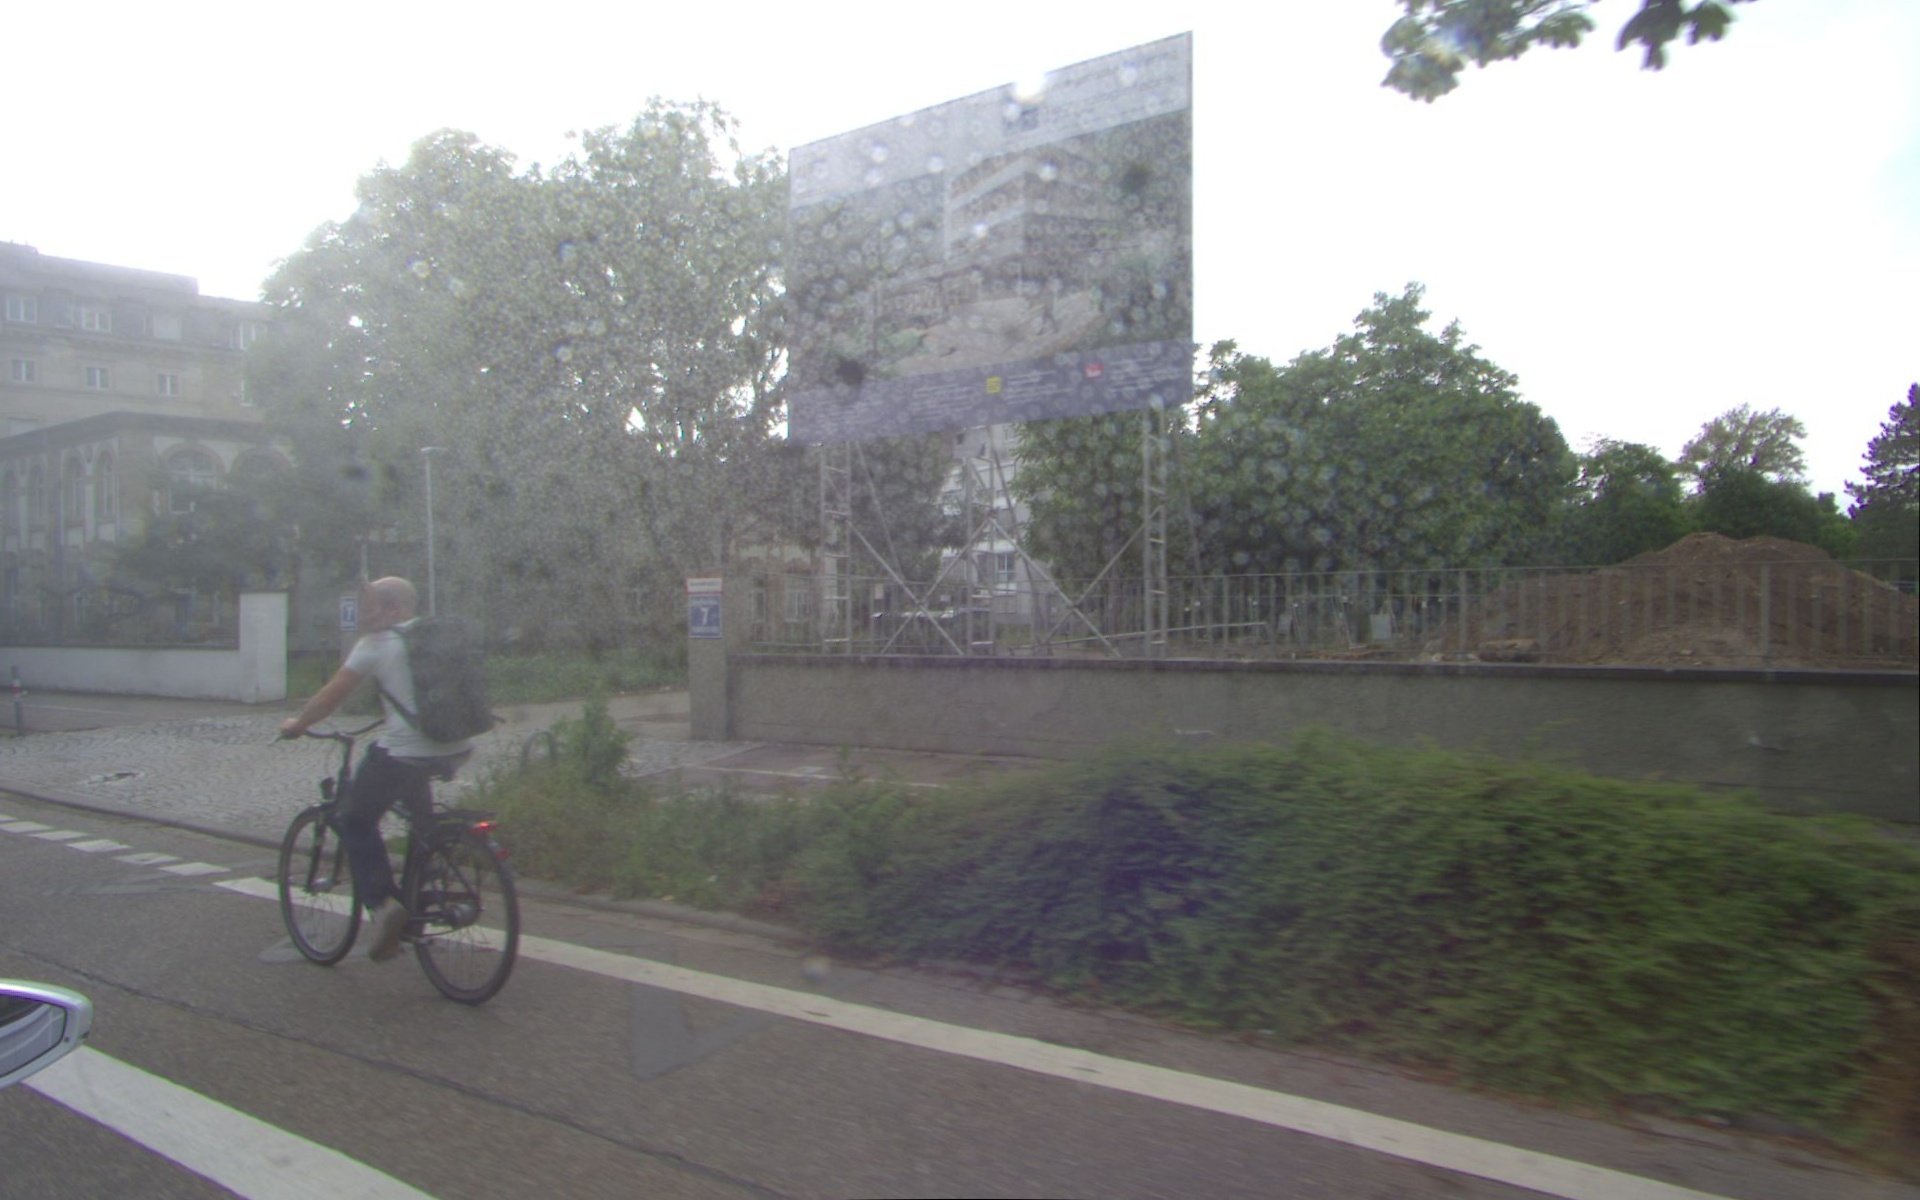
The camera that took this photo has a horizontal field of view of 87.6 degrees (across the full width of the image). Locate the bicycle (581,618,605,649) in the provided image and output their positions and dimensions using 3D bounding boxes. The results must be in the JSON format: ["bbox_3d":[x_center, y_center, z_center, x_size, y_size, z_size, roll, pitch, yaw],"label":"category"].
[{"bbox_3d":[-14.220,1.288,38.793,0.609,1.134,2.212,0,0,-27],"label":"bicycle"}]

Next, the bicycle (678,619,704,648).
[{"bbox_3d":[-10.982,1.337,40.827,0.609,1.134,2.212,0,0,-27],"label":"bicycle"}]

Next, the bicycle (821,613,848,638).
[{"bbox_3d":[-5.574,1.133,44.421,0.391,1.079,1.816,0,-1,-35],"label":"bicycle"}]

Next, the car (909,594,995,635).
[{"bbox_3d":[-0.397,0.777,52.225,4.300,2.039,1.841,1,-2,-38],"label":"car"}]

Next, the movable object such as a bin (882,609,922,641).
[{"bbox_3d":[-2.390,1.024,41.321,1.045,1.281,1.342,0,0,-42],"label":"movable object such as a bin"}]

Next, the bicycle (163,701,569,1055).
[{"bbox_3d":[-2.573,1.053,4.284,1.838,1.131,0.663,0,-2,30],"label":"bicycle"}]

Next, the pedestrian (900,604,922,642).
[{"bbox_3d":[-2.386,1.126,48.591,0.747,1.832,0.693,0,-2,-37],"label":"pedestrian"}]

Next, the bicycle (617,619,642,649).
[{"bbox_3d":[-13.021,1.336,39.386,0.609,1.134,2.212,0,0,-27],"label":"bicycle"}]

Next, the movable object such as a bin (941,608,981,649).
[{"bbox_3d":[0.035,1.064,37.490,1.039,1.470,1.349,0,1,-25],"label":"movable object such as a bin"}]

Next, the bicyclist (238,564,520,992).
[{"bbox_3d":[-2.474,0.675,4.271,0.972,1.590,0.661,0,-1,32],"label":"bicyclist"}]
